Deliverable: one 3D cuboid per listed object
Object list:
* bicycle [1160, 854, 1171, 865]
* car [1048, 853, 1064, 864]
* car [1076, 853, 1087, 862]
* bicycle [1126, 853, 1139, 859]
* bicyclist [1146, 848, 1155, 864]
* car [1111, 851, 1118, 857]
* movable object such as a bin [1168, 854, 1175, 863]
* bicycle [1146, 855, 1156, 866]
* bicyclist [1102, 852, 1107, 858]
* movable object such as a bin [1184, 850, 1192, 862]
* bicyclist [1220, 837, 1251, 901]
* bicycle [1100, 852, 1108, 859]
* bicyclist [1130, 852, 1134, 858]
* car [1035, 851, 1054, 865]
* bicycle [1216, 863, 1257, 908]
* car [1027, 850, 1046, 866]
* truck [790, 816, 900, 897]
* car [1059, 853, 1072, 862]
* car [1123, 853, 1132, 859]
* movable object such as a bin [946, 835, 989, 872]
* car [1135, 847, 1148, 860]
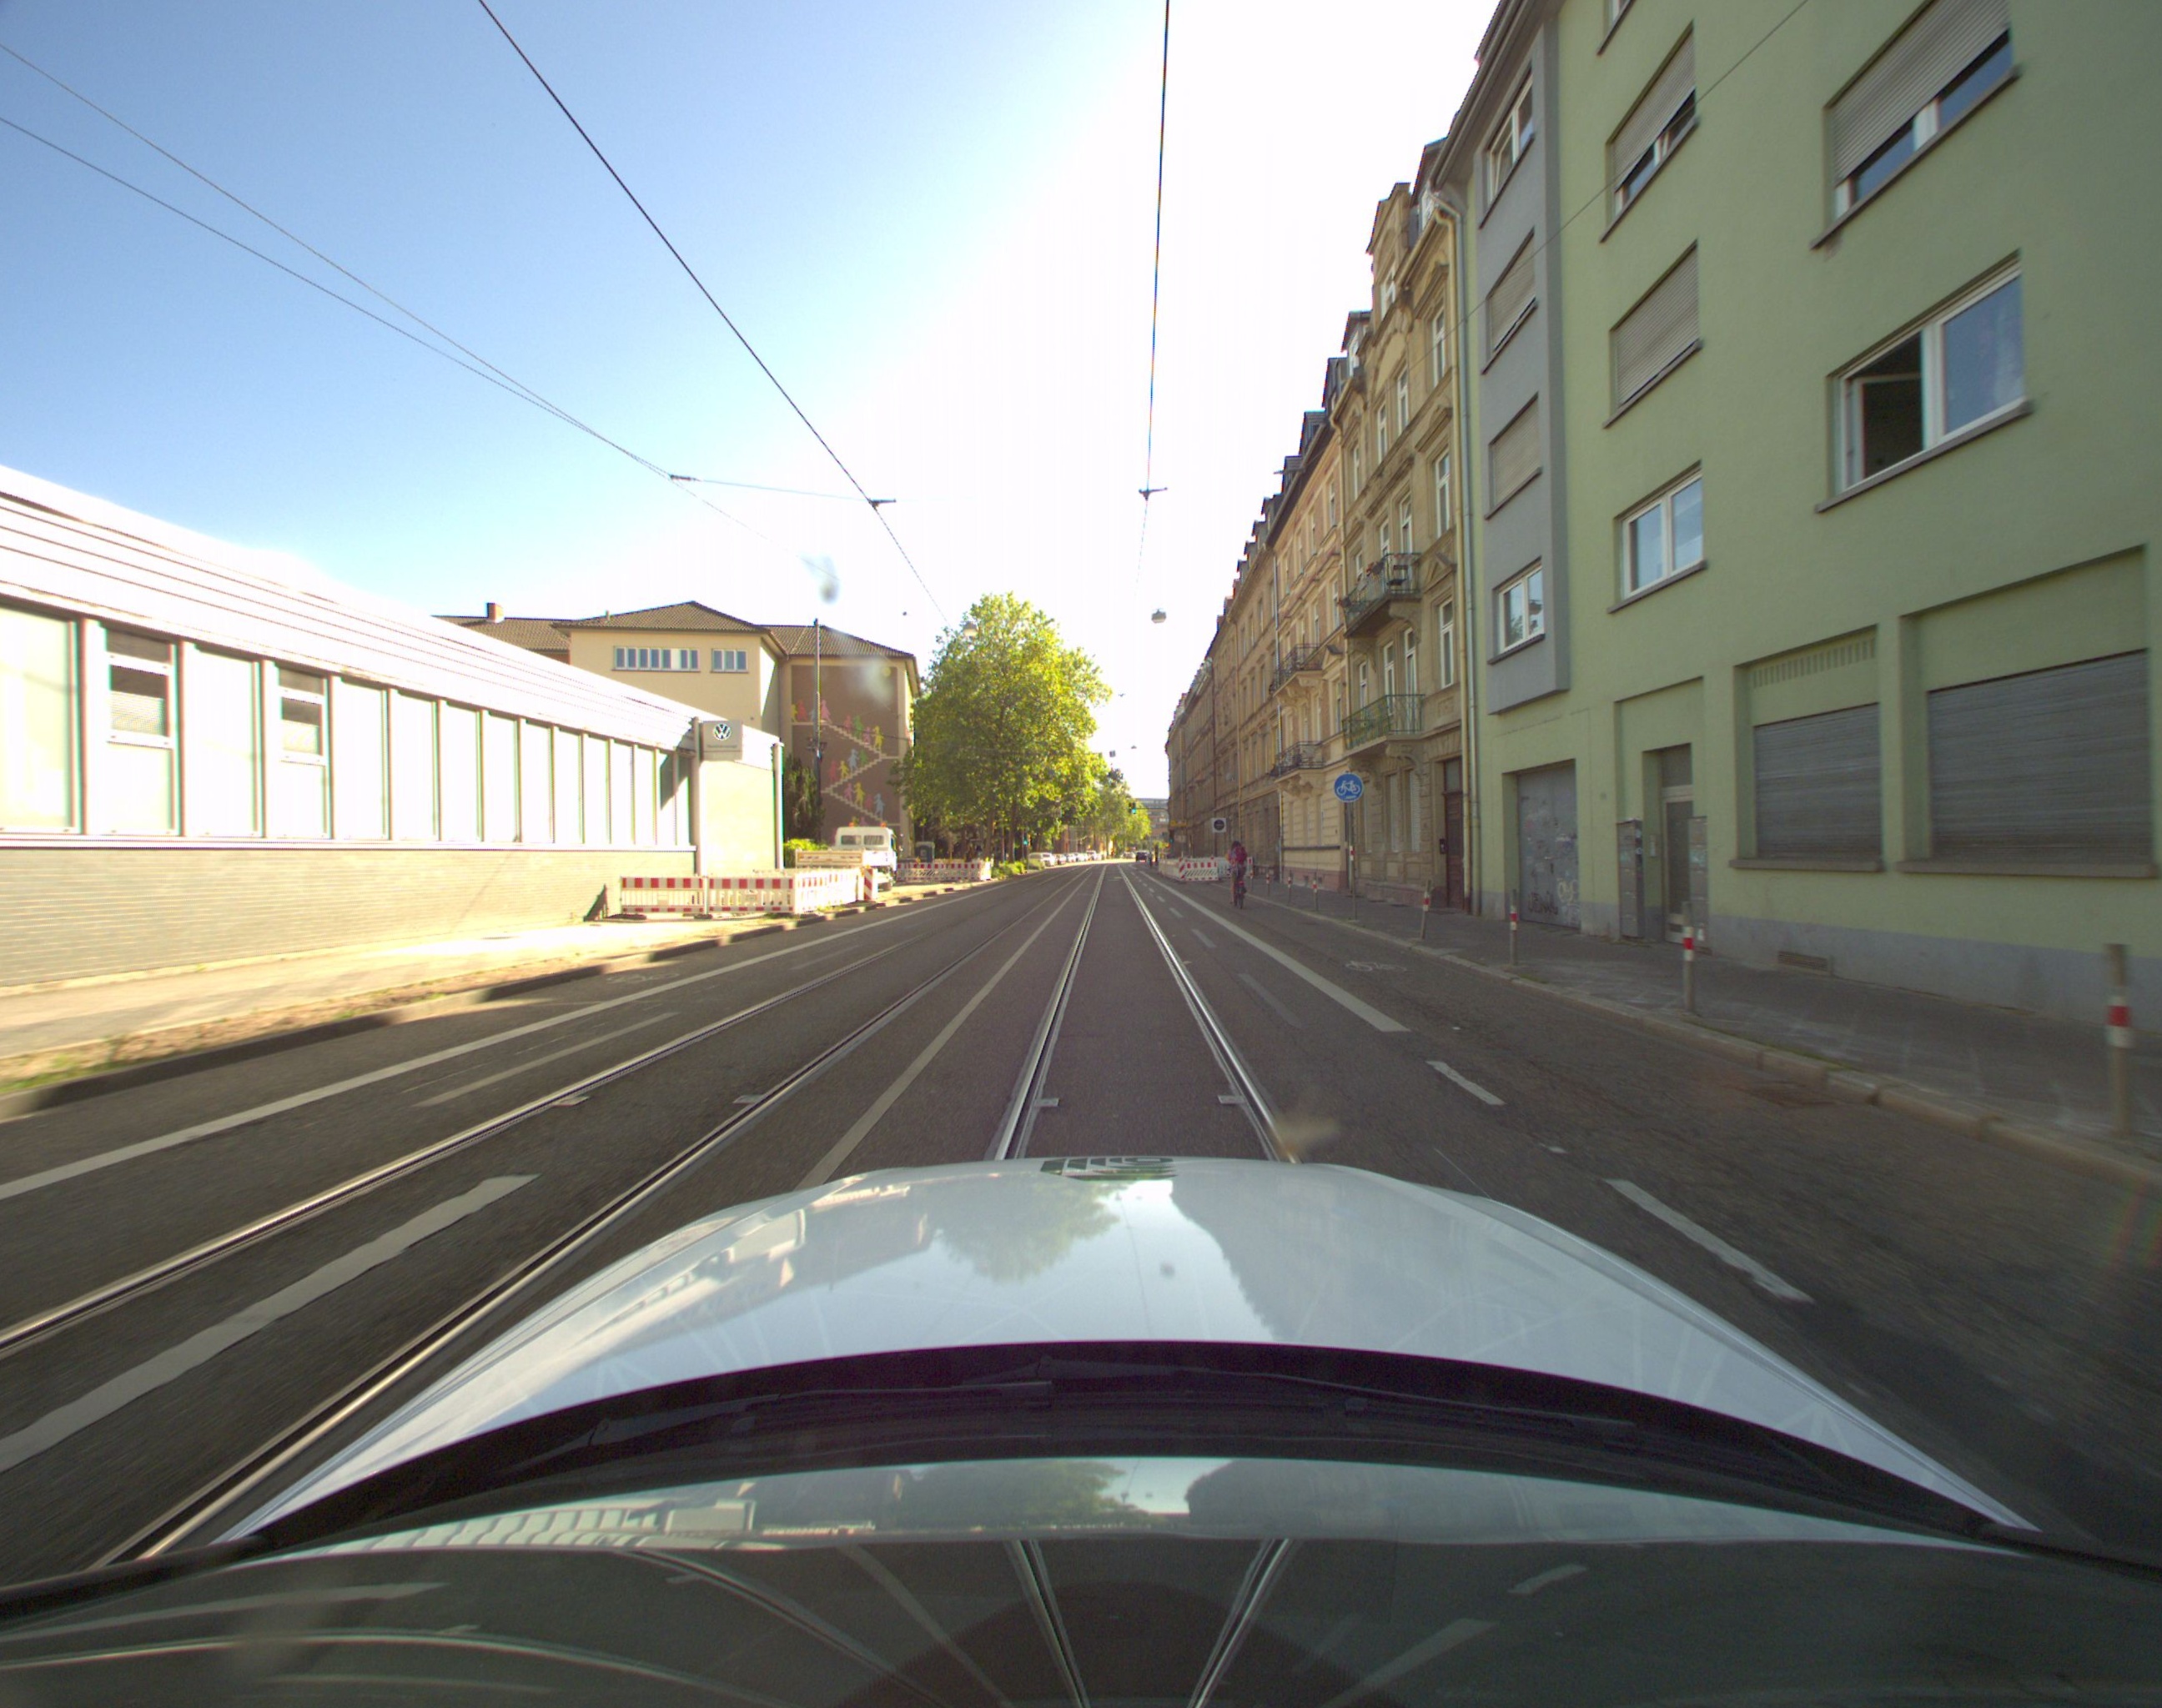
[{"bbox_3d":[11.658,0.707,112.430,0.964,1.515,3.258,0,0,14],"label":"bicycle"},{"bbox_3d":[-3.472,0.605,112.579,1.740,1.509,4.048,0,0,5],"label":"car"},{"bbox_3d":[0.188,0.651,156.044,1.740,1.587,4.048,0,0,5],"label":"car"},{"bbox_3d":[11.980,0.476,188.772,2.868,1.231,0.887,0,-1,12],"label":"bicycle"},{"bbox_3d":[6.912,0.209,80.756,0.835,1.558,0.966,0,-1,1],"label":"bicyclist"},{"bbox_3d":[10.401,-0.015,250.049,1.739,1.625,4.051,0,0,7],"label":"car"},{"bbox_3d":[10.188,0.523,91.400,0.671,1.036,0.814,-1,1,2],"label":"movable object such as a bin"},{"bbox_3d":[6.900,0.636,80.705,0.852,1.088,2.488,0,0,2],"label":"bicycle"},{"bbox_3d":[5.375,0.217,186.238,1.071,1.427,1.149,0,-1,10],"label":"bicyclist"},{"bbox_3d":[9.603,0.159,73.109,0.618,1.110,0.780,1,-1,-1],"label":"movable object such as a bin"},{"bbox_3d":[4.206,0.399,22.225,0.664,1.697,1.043,0,-1,2],"label":"bicyclist"},{"bbox_3d":[5.270,0.388,186.289,1.227,1.572,2.904,0,0,9],"label":"bicycle"},{"bbox_3d":[11.813,0.249,188.817,0.893,1.427,1.056,0,-1,11],"label":"bicyclist"},{"bbox_3d":[-4.277,0.514,97.024,1.740,1.608,4.048,0,0,5],"label":"car"},{"bbox_3d":[4.200,0.816,22.218,0.678,1.114,2.708,0,0,2],"label":"bicycle"},{"bbox_3d":[-4.729,0.459,86.527,1.538,1.658,3.767,0,0,5],"label":"car"},{"bbox_3d":[-8.957,0.109,31.713,2.531,2.830,6.372,1,0,-2],"label":"truck"},{"bbox_3d":[-2.588,0.539,135.522,1.740,1.495,4.048,0,0,5],"label":"car"},{"bbox_3d":[11.078,0.583,193.988,1.739,1.422,4.051,0,0,7],"label":"car"},{"bbox_3d":[-8.701,-0.031,62.848,2.487,2.645,5.987,1,0,-1],"label":"movable object such as a bin"},{"bbox_3d":[9.820,-0.062,133.080,1.985,2.014,4.002,0,0,2],"label":"car"}]
